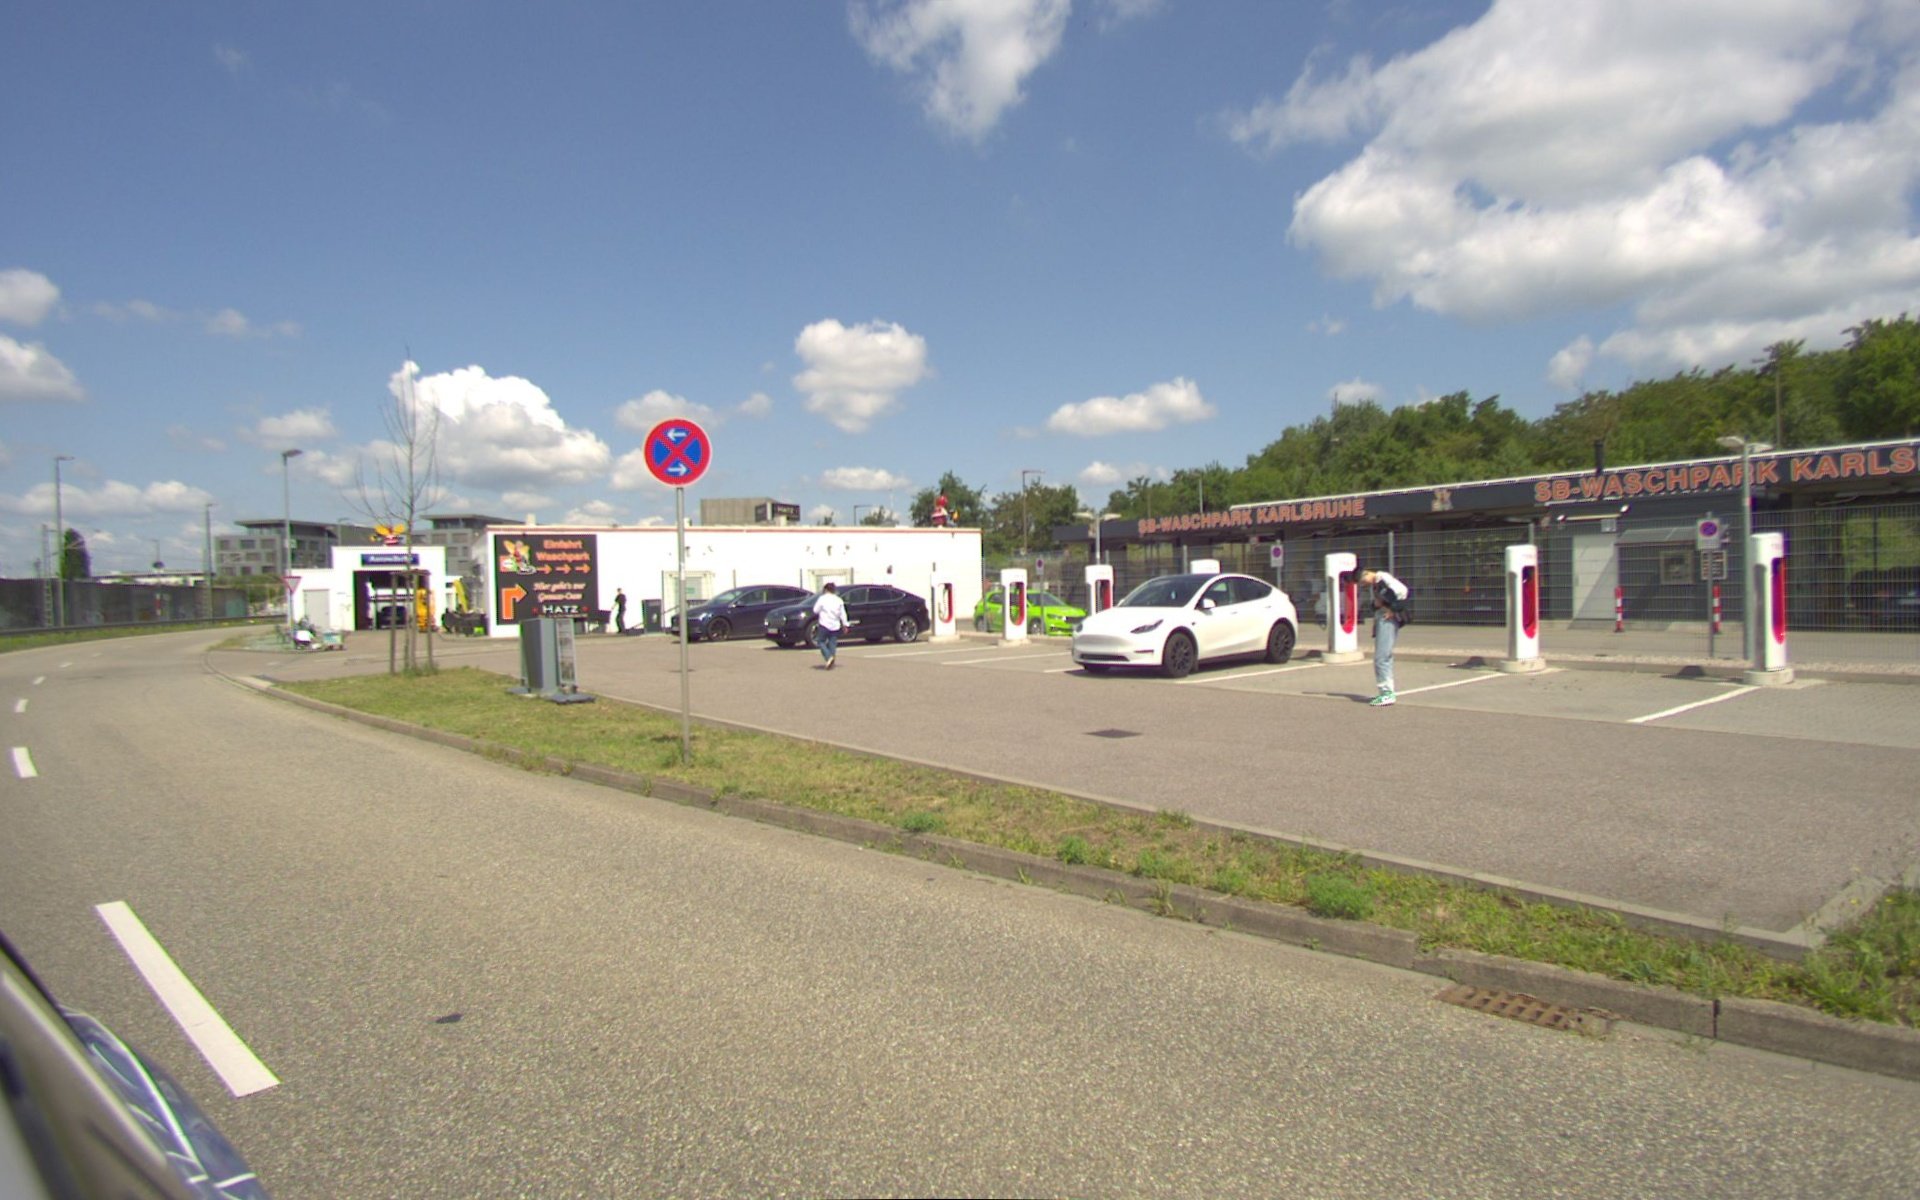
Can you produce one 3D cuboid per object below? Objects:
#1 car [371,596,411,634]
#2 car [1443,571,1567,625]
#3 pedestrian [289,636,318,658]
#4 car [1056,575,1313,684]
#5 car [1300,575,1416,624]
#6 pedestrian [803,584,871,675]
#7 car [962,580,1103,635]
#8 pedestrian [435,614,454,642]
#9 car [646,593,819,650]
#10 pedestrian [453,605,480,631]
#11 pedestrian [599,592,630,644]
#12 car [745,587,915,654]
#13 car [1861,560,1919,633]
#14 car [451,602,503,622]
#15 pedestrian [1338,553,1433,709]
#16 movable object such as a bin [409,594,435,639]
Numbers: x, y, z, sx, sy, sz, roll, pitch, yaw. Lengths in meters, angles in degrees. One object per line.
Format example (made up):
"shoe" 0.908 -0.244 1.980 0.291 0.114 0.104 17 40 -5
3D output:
"car" -34.148 0.870 60.723 1.966 2.125 5.025 -1 0 -30
"car" 16.814 -0.084 31.177 3.936 1.574 2.004 -1 0 -39
"pedestrian" -24.428 1.761 37.677 0.850 0.766 0.820 -1 -1 -31
"car" 3.912 0.400 17.234 4.496 1.535 2.003 -3 1 -42
"car" 13.653 -0.058 34.635 3.936 1.574 2.004 -1 0 -39
"pedestrian" -2.346 0.554 19.311 0.852 1.666 0.942 -2 0 -41
"car" 2.108 0.213 30.496 1.891 1.493 4.309 -2 1 -36
"pedestrian" -24.009 1.287 47.164 0.742 1.266 0.902 -2 0 -28
"car" -6.951 0.626 31.253 4.688 1.466 2.241 -3 1 -42
"pedestrian" -25.035 0.912 51.328 0.865 1.317 0.927 -2 0 44
"pedestrian" -13.962 0.717 40.880 0.925 2.028 0.867 -1 2 -35
"car" -3.382 0.485 26.661 3.937 1.530 2.003 -3 1 -40
"car" 22.025 -0.108 22.788 3.936 1.574 2.004 -1 0 -39
"car" -48.014 1.200 100.651 4.365 1.846 1.994 -1 0 10
"pedestrian" 5.060 0.339 12.024 0.852 1.764 0.728 -2 1 -44
"movable object such as a bin" -27.879 0.829 52.436 1.048 2.168 2.713 -2 2 -29
